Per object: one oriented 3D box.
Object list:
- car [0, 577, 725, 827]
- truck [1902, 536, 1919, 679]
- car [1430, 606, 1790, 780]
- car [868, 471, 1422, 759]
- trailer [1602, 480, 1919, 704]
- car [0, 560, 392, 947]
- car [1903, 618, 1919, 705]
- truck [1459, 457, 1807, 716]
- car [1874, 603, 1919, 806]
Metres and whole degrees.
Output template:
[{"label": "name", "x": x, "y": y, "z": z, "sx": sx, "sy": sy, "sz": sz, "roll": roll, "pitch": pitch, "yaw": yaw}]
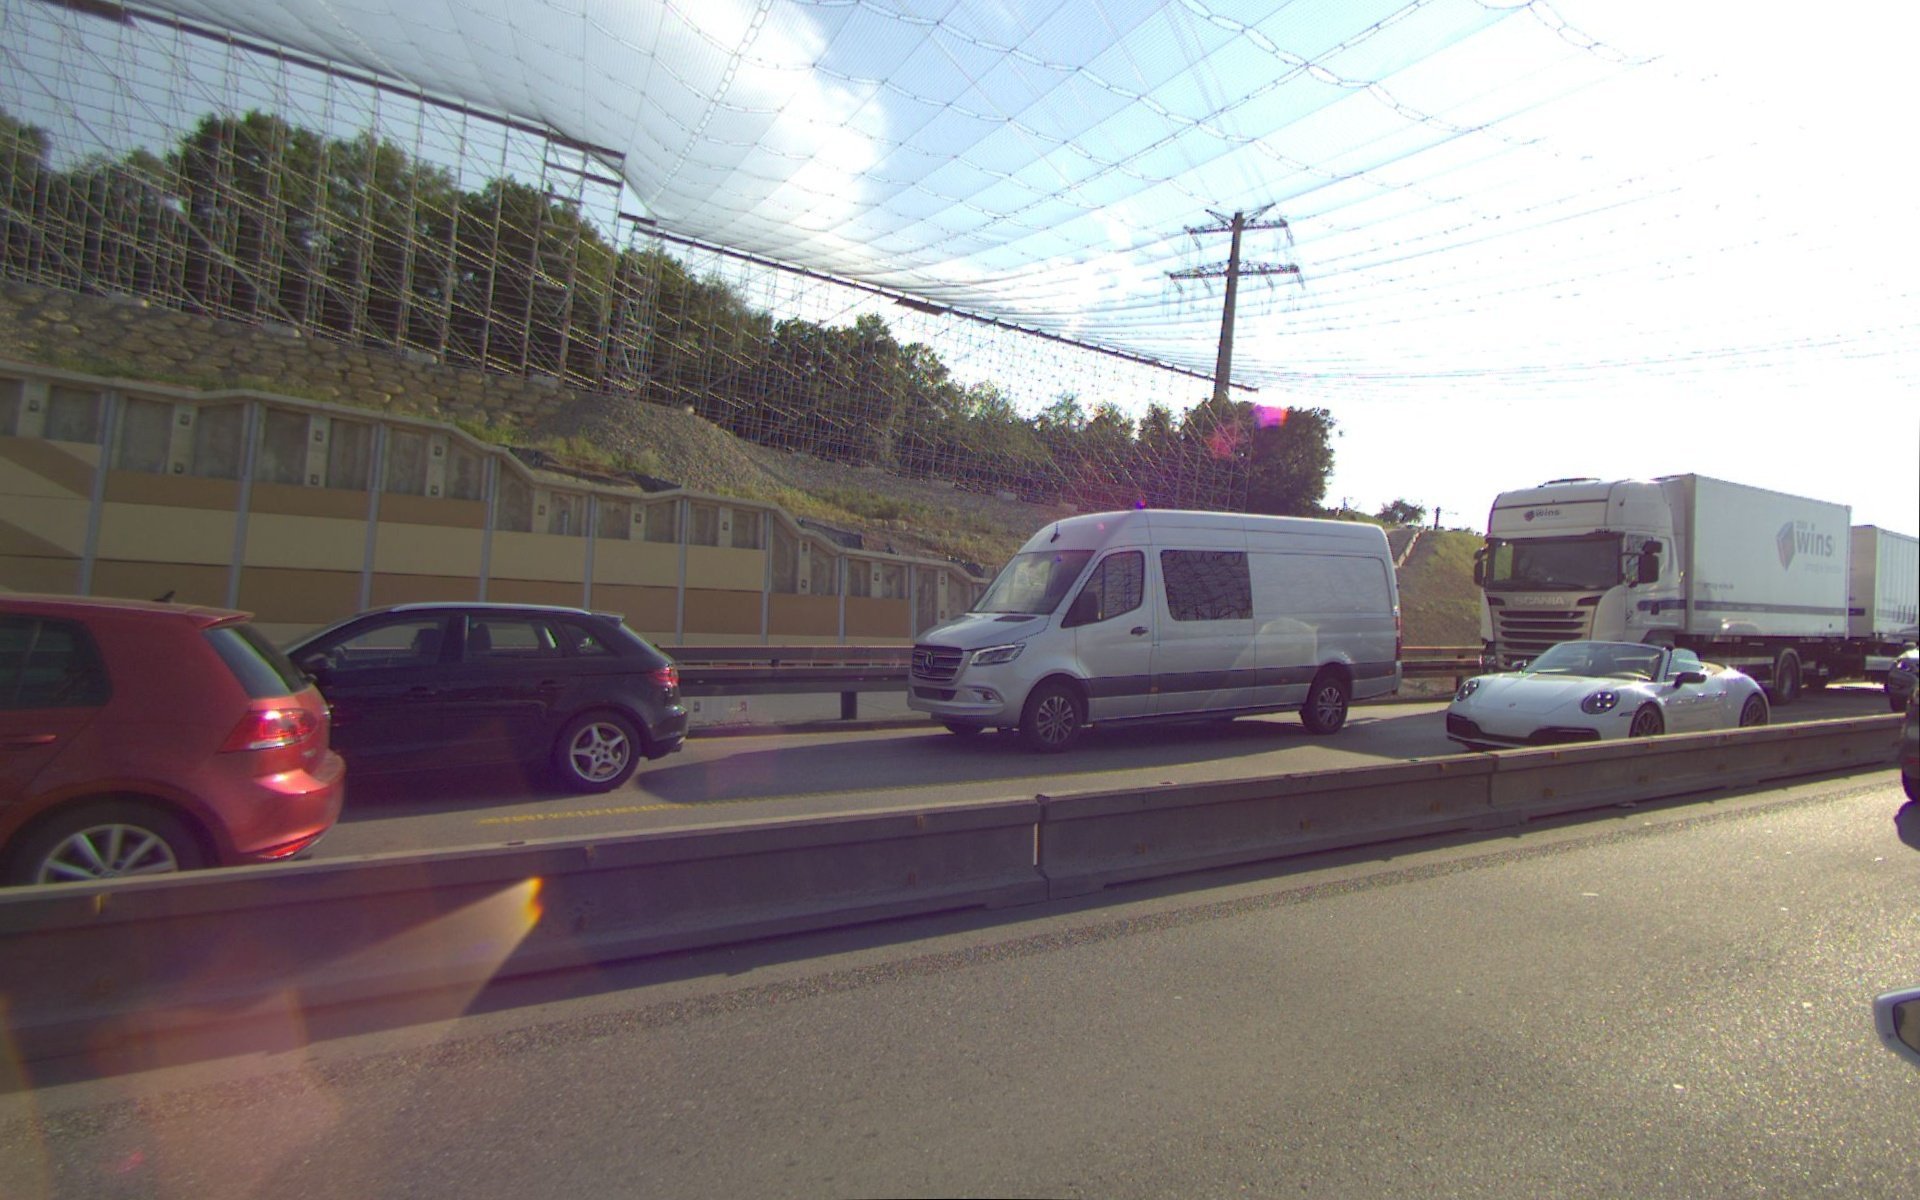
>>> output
[{"label": "car", "x": -4.200, "y": 0.650, "z": 7.720, "sx": 4.329, "sy": 1.456, "sz": 1.783, "roll": 2, "pitch": 0, "yaw": -30}, {"label": "truck", "x": 30.291, "y": 0.308, "z": 29.654, "sx": 5.561, "sy": 4.099, "sz": 2.457, "roll": 2, "pitch": 0, "yaw": -35}, {"label": "car", "x": 7.377, "y": 0.931, "z": 11.280, "sx": 4.319, "sy": 1.589, "sz": 1.797, "roll": 2, "pitch": 0, "yaw": -33}, {"label": "car", "x": 2.527, "y": 0.230, "z": 12.383, "sx": 7.003, "sy": 2.749, "sz": 2.229, "roll": 2, "pitch": 0, "yaw": -32}, {"label": "trailer", "x": 19.357, "y": 0.027, "z": 23.052, "sx": 13.193, "sy": 4.069, "sz": 2.654, "roll": 2, "pitch": 0, "yaw": -34}, {"label": "car", "x": -4.855, "y": 0.534, "z": 4.009, "sx": 4.466, "sy": 1.438, "sz": 1.799, "roll": 2, "pitch": 0, "yaw": -31}, {"label": "car", "x": 19.754, "y": 1.190, "z": 19.017, "sx": 4.319, "sy": 1.589, "sz": 1.797, "roll": 2, "pitch": 0, "yaw": -33}, {"label": "truck", "x": 12.463, "y": -0.121, "z": 18.393, "sx": 7.127, "sy": 3.962, "sz": 2.616, "roll": 2, "pitch": 0, "yaw": -33}, {"label": "car", "x": 9.687, "y": 0.903, "z": 8.551, "sx": 3.953, "sy": 1.617, "sz": 1.684, "roll": 2, "pitch": 0, "yaw": -30}]
